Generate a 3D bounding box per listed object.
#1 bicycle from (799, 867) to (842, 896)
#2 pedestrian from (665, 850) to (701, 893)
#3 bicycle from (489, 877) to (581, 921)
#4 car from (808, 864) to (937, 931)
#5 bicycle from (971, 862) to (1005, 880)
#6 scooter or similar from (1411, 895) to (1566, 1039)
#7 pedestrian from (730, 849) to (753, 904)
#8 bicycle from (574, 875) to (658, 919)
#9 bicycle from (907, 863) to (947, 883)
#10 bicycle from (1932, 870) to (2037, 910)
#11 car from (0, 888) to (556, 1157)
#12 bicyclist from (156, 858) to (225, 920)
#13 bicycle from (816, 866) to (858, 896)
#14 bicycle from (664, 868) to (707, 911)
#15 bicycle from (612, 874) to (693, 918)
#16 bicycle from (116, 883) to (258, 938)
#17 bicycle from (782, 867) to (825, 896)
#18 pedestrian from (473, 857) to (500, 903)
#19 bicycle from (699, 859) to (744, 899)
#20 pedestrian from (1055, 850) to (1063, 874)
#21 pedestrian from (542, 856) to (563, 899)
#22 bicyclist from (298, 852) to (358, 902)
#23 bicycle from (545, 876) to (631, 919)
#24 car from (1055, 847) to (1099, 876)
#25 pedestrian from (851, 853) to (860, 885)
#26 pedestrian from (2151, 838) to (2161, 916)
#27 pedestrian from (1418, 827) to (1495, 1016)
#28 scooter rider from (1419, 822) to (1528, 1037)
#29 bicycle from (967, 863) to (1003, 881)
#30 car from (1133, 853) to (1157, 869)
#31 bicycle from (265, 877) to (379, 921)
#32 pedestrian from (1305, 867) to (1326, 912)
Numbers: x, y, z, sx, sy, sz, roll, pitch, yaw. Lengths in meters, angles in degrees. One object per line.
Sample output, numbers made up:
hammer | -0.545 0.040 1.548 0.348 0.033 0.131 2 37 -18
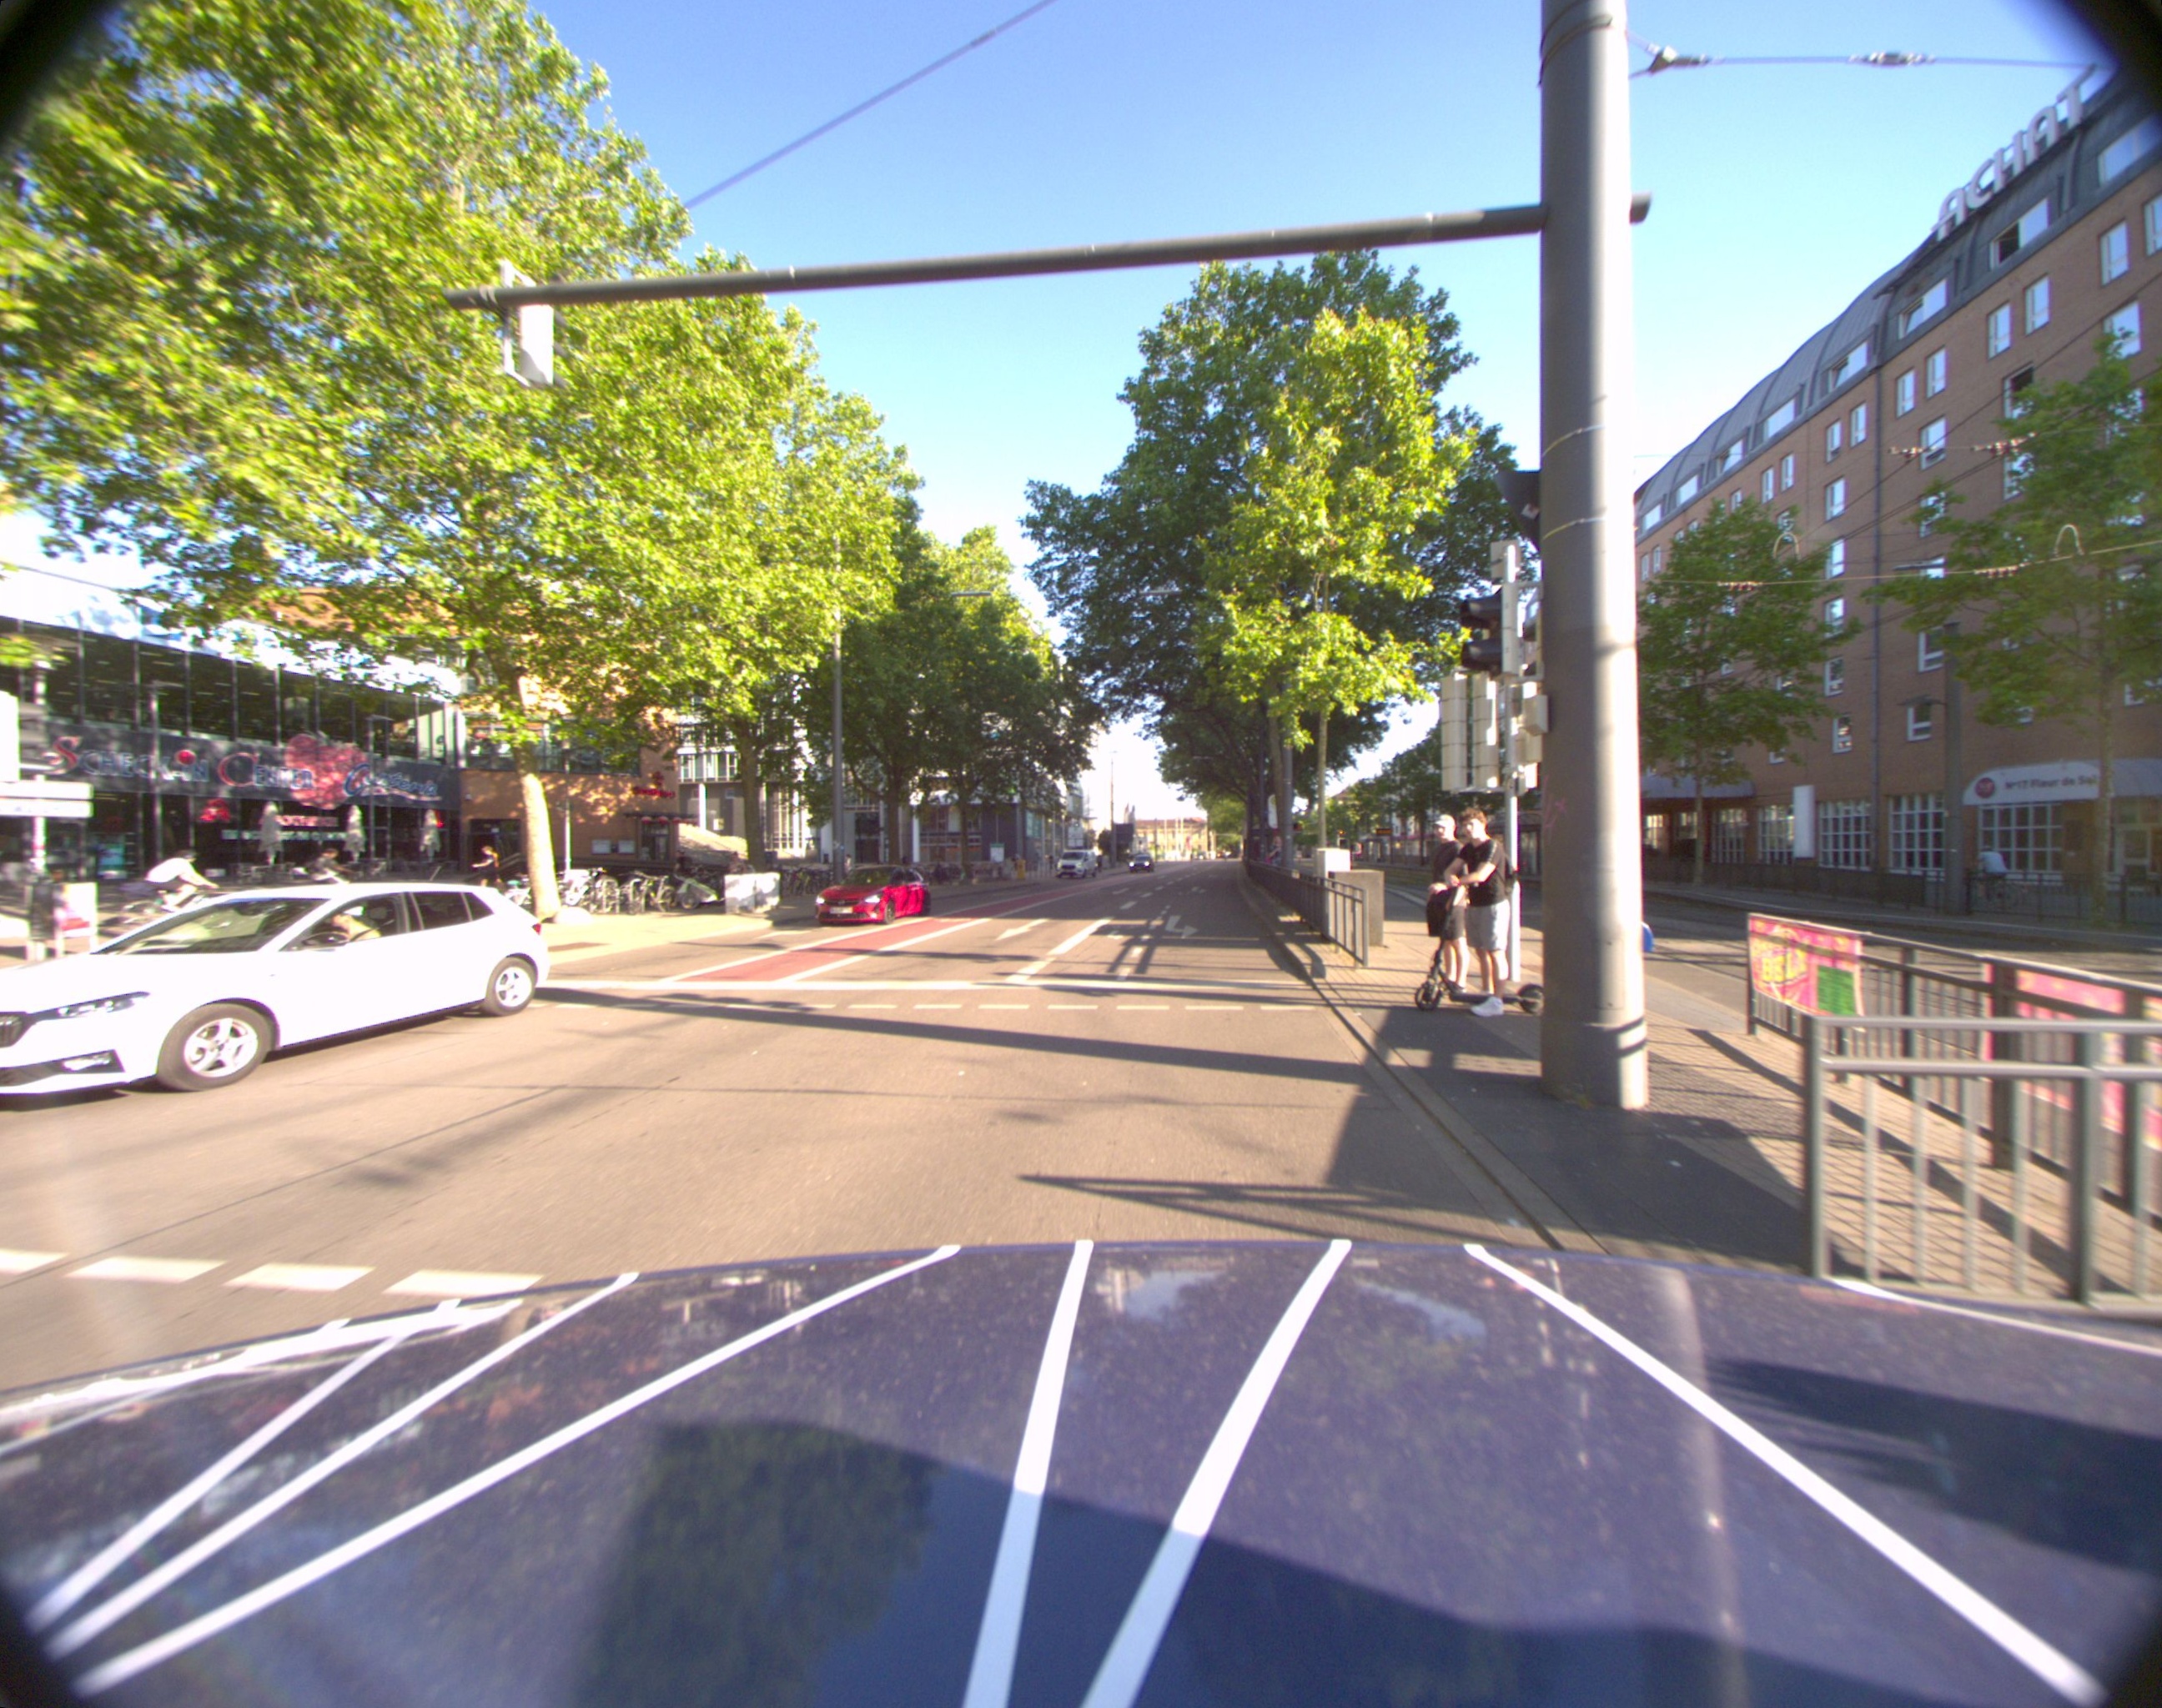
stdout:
bicycle | -9.994 1.039 29.217 0.577 1.057 1.948 0 0 13
pedestrian | -14.448 0.639 27.602 0.765 1.533 0.876 0 1 7
bicycle | -14.603 1.178 20.394 0.782 1.057 1.948 0 0 13
car | -5.151 1.030 19.367 1.690 1.420 4.002 -1 0 8
bicycle | -5.640 1.037 46.266 1.944 1.057 0.578 0 1 4
scooter or similar | 3.597 0.975 6.782 1.157 1.172 0.456 0 1 17
pedestrian | -10.493 0.686 23.508 0.571 1.660 0.543 -1 1 -18
bicycle | -12.471 1.125 20.447 0.782 1.057 1.948 0 0 13
bicycle | -8.100 1.004 40.005 1.944 1.057 0.578 0 1 4
bicycle | 25.425 0.999 21.453 0.613 1.013 2.155 0 0 8
car | -6.980 1.130 6.694 1.634 1.443 4.002 -1 0 6
bicyclist | -19.890 0.762 16.983 0.673 1.337 0.961 0 1 39
bicycle | -9.309 1.023 29.071 0.577 1.057 1.948 0 0 13
bicycle | -12.171 1.040 23.331 0.785 1.182 3.549 -1 1 -33
bicycle | -11.461 1.101 20.417 0.782 1.057 1.948 0 0 13
bicycle | -19.910 1.225 16.973 0.694 1.061 2.019 0 1 39
bicycle | -10.739 1.057 29.488 0.577 1.057 1.948 0 0 13
pedestrian | -21.723 0.951 27.765 0.542 1.660 0.571 0 1 26
bicycle | -11.523 0.748 24.258 0.785 1.182 3.549 -1 1 -33
pedestrian | -1.622 0.593 56.084 0.560 1.788 0.593 0 1 8
pedestrian | -20.821 0.922 29.914 0.569 1.660 0.545 1 1 41
bicyclist | -20.217 0.600 20.409 0.673 1.292 0.960 0 1 27
bicycle | -13.320 1.146 20.595 0.782 1.057 1.948 0 0 13
car | -0.240 0.494 55.072 1.969 1.934 4.970 -1 0 14
pedestrian | -11.080 0.737 37.323 0.411 1.546 0.447 -1 1 -18
pedestrian | 26.496 0.565 18.229 0.646 1.884 0.747 0 1 23
pedestrian | 3.722 0.641 7.573 0.568 1.786 0.673 0 1 15
scooter rider | 3.490 0.637 6.811 0.762 1.822 0.589 0 1 17
bicycle | -5.546 1.042 43.965 1.944 1.057 0.578 0 1 4
car | 6.118 0.615 72.309 1.689 1.420 4.004 -1 0 14
bicycle | -20.267 1.171 20.348 0.694 1.061 2.018 0 1 27
pedestrian | 5.555 0.834 17.982 0.405 1.026 0.379 0 1 5
